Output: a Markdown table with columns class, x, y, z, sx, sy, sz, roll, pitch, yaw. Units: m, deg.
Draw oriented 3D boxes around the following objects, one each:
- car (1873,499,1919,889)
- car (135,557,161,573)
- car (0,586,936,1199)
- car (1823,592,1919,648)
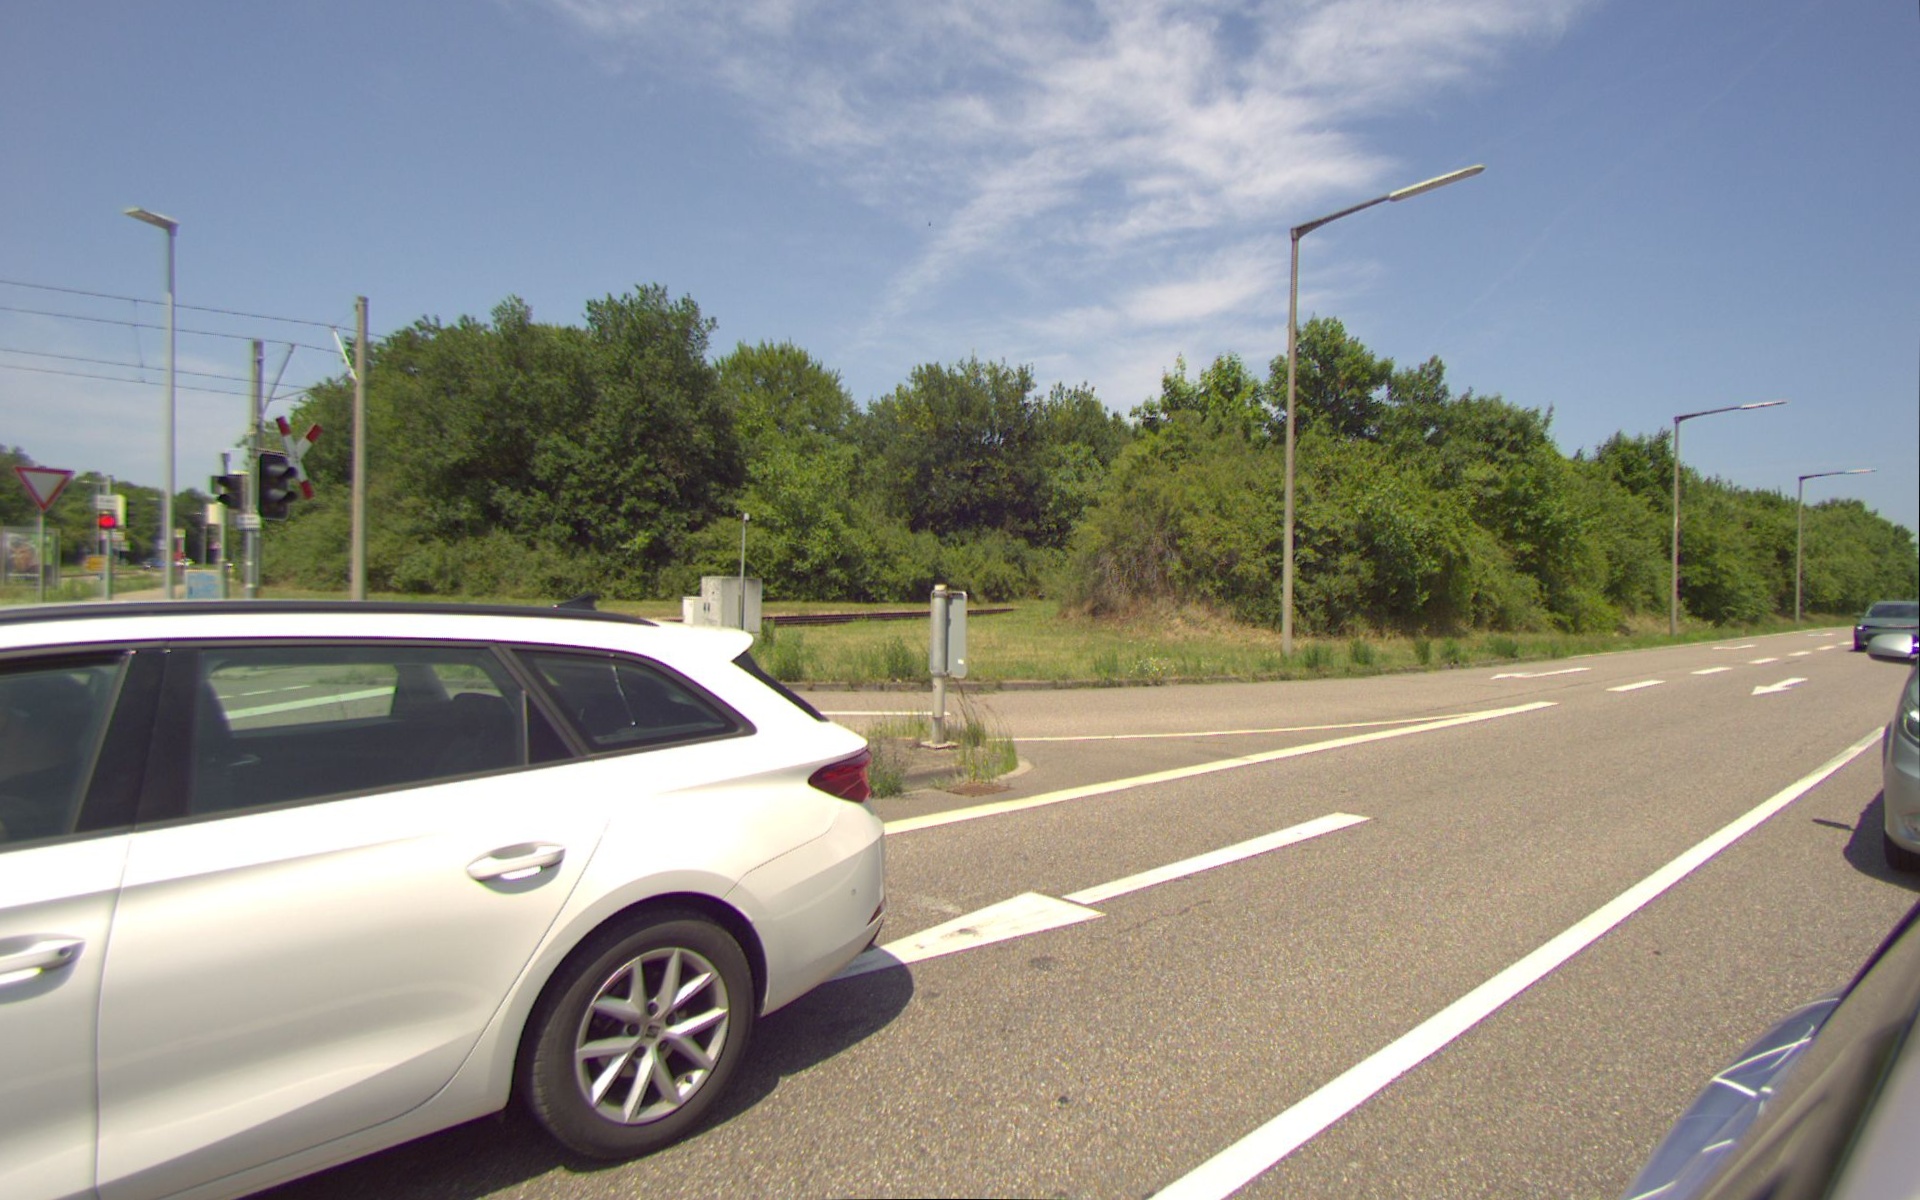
| class | x | y | z | sx | sy | sz | roll | pitch | yaw |
| --- | --- | --- | --- | --- | --- | --- | --- | --- | --- |
| car | 7.318 | 0.478 | 6.173 | 5.631 | 1.900 | 1.875 | 0 | 1 | -41 |
| car | -94.984 | -4.049 | 118.424 | 1.961 | 1.812 | 4.002 | 1 | 1 | -33 |
| car | -2.250 | 0.679 | 2.426 | 4.375 | 1.407 | 1.684 | 0 | 1 | -43 |
| car | 28.877 | 0.610 | 31.979 | 3.928 | 1.616 | 1.723 | 0 | 1 | -39 |
